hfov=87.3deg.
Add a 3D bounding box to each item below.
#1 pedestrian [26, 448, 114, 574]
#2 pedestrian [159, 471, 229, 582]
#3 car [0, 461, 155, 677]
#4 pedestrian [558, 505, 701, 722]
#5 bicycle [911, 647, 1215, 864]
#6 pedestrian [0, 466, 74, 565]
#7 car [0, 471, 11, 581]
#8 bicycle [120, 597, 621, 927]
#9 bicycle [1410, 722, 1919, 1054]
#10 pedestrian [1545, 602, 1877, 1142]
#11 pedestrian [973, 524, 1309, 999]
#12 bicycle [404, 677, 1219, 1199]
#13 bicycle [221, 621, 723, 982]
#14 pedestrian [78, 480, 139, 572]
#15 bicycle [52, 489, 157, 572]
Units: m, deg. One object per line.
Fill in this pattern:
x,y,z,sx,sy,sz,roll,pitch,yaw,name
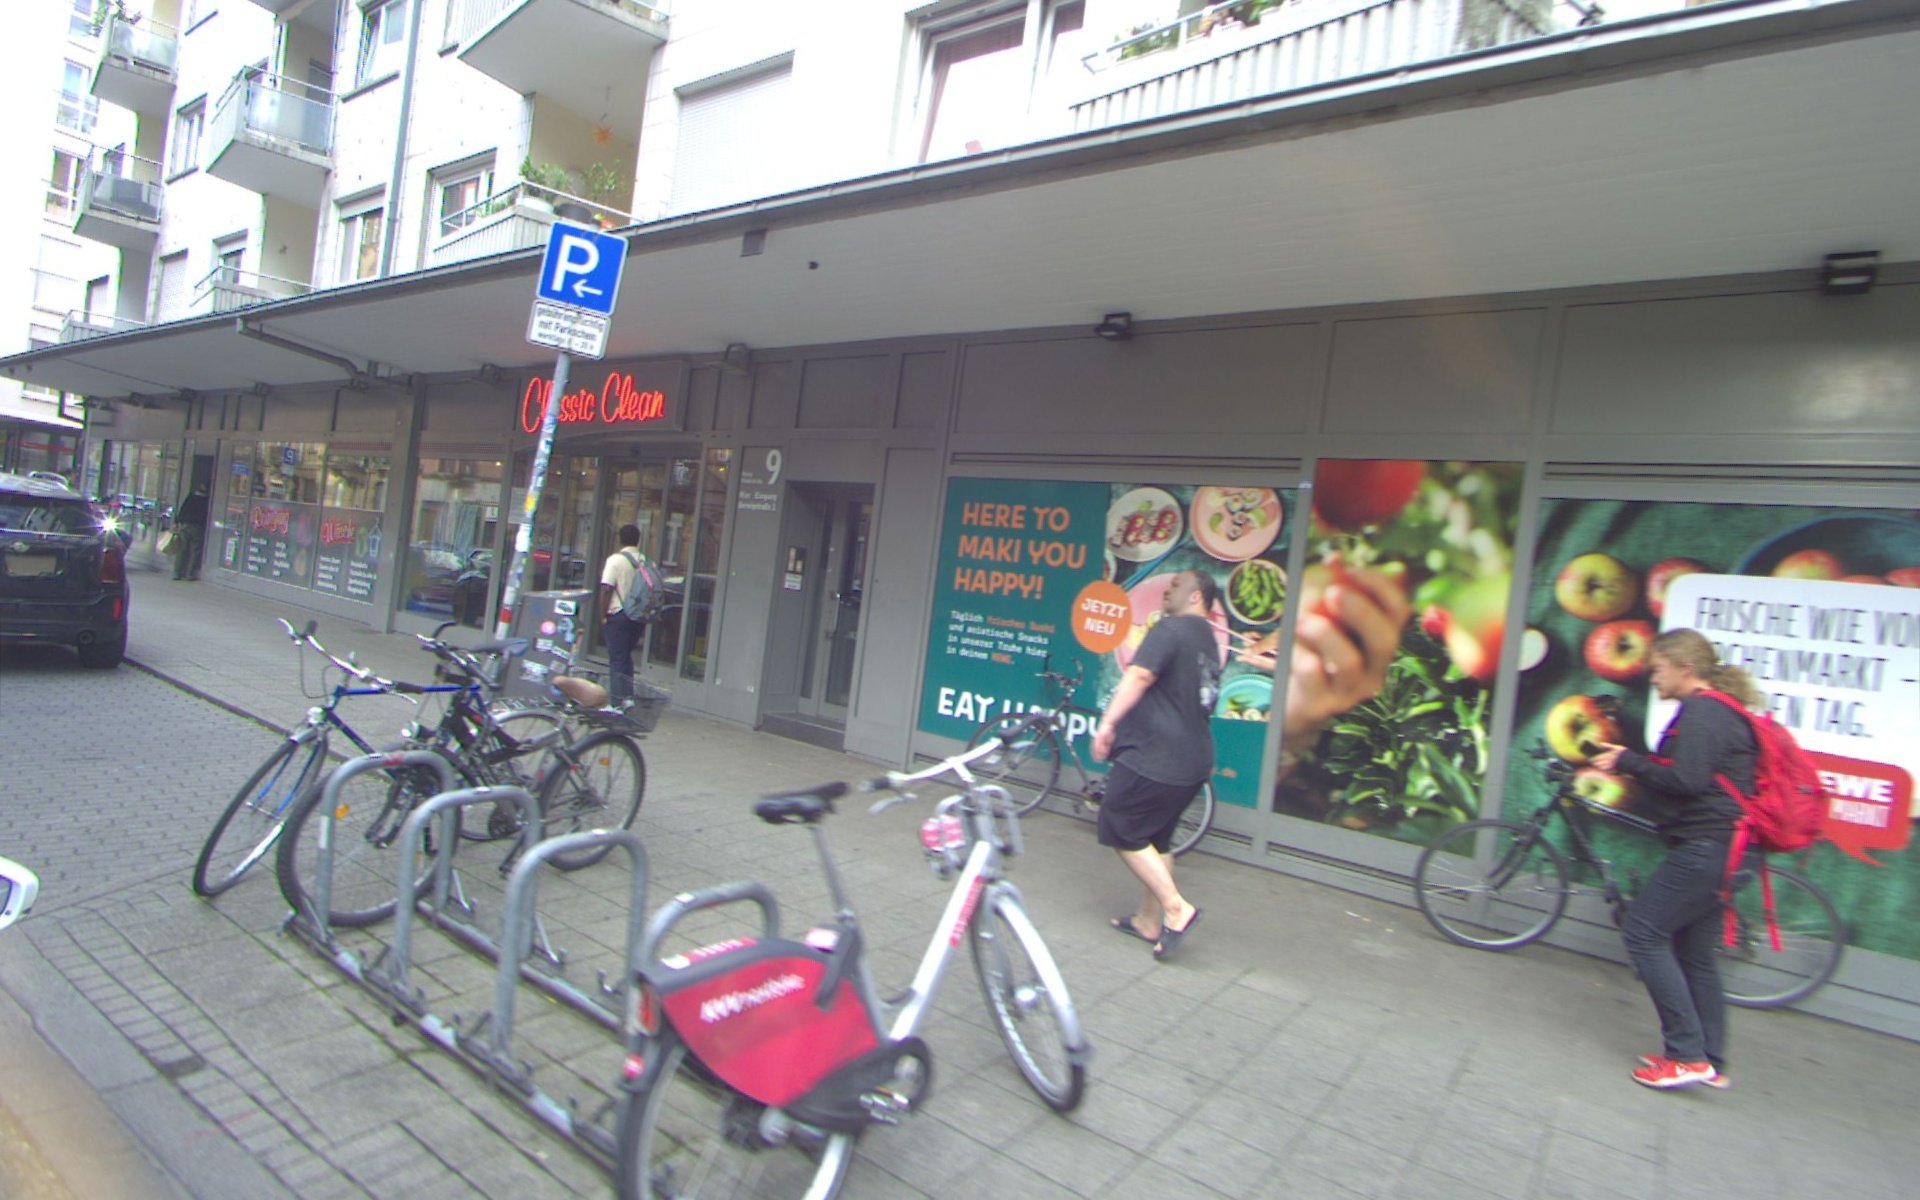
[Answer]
-13.325,-1.329,15.061,1.107,1.749,0.612,8,3,31,pedestrian
-13.817,-1.310,18.169,0.701,1.883,0.641,7,0,-24,pedestrian
-8.718,-0.428,8.726,3.864,1.626,1.790,8,2,38,car
-2.916,0.113,8.880,0.804,1.770,0.713,8,3,35,pedestrian
0.634,0.932,6.572,1.755,1.028,0.741,7,2,37,bicycle
-16.452,-1.504,17.881,0.769,1.608,0.823,7,1,38,pedestrian
-12.845,-0.904,11.807,3.841,1.597,1.688,7,0,36,car
-2.419,0.594,4.401,0.576,1.085,1.790,8,2,27,bicycle
3.095,1.228,4.620,1.701,1.056,0.678,6,0,17,bicycle
2.670,0.881,3.658,0.701,1.654,0.721,8,3,35,pedestrian
0.809,0.623,4.489,1.032,1.770,0.849,8,3,35,pedestrian
-0.177,0.842,2.515,0.893,1.140,1.882,8,2,34,bicycle
-1.832,0.678,4.110,0.559,1.085,1.790,8,2,27,bicycle
-15.811,-1.369,18.686,0.769,1.609,0.643,8,2,39,pedestrian
-15.878,-1.303,18.649,2.461,1.307,0.918,7,2,37,bicycle
